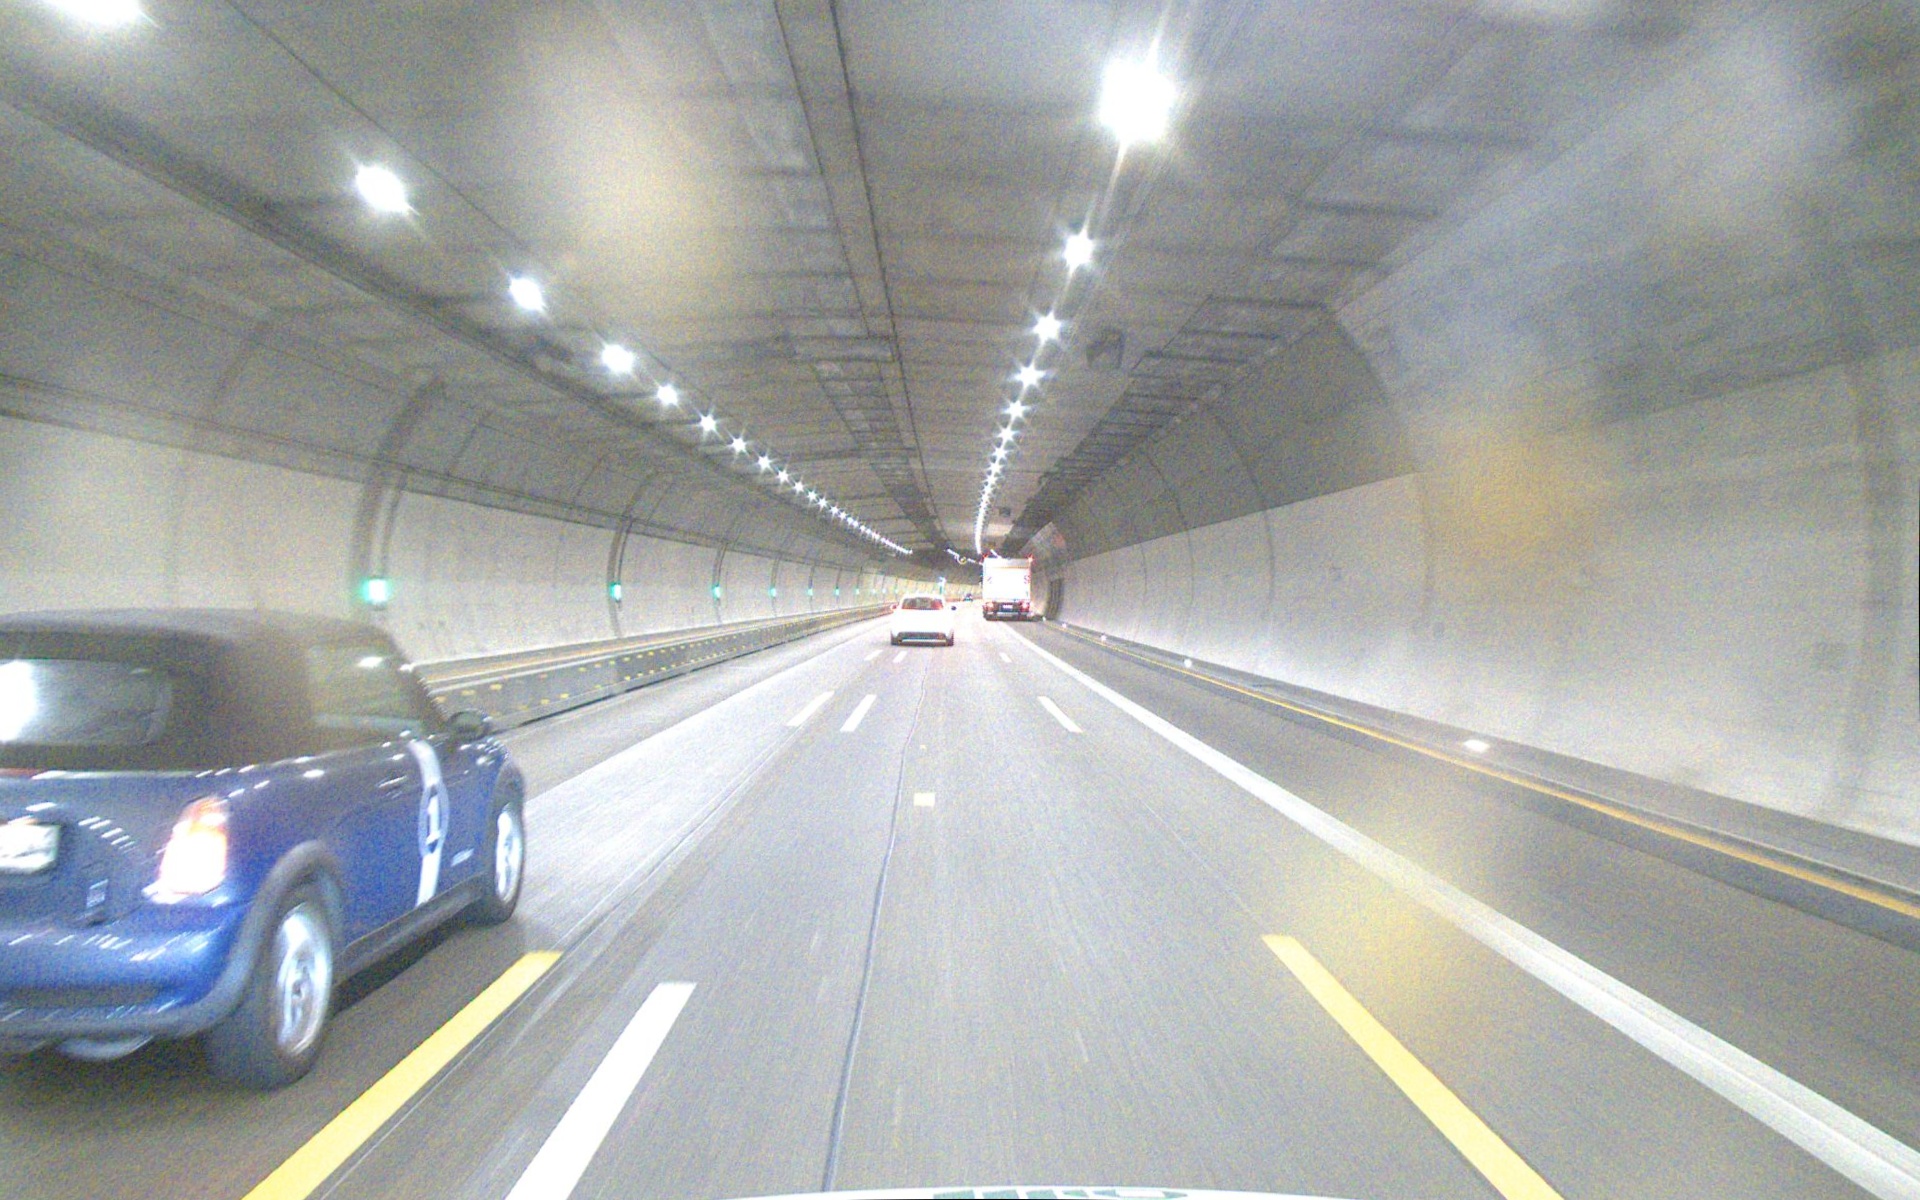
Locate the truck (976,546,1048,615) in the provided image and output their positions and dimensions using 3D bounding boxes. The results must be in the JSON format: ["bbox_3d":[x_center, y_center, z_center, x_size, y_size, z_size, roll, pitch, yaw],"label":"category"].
[{"bbox_3d":[2.885,-1.088,95.971,3.520,3.714,10.719,1,0,-1],"label":"truck"}]

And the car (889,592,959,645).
[{"bbox_3d":[-1.058,0.503,48.554,1.953,1.437,4.741,1,0,-1],"label":"car"}]

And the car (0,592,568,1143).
[{"bbox_3d":[-2.774,0.705,6.353,1.655,1.442,3.922,1,0,-1],"label":"car"}]
